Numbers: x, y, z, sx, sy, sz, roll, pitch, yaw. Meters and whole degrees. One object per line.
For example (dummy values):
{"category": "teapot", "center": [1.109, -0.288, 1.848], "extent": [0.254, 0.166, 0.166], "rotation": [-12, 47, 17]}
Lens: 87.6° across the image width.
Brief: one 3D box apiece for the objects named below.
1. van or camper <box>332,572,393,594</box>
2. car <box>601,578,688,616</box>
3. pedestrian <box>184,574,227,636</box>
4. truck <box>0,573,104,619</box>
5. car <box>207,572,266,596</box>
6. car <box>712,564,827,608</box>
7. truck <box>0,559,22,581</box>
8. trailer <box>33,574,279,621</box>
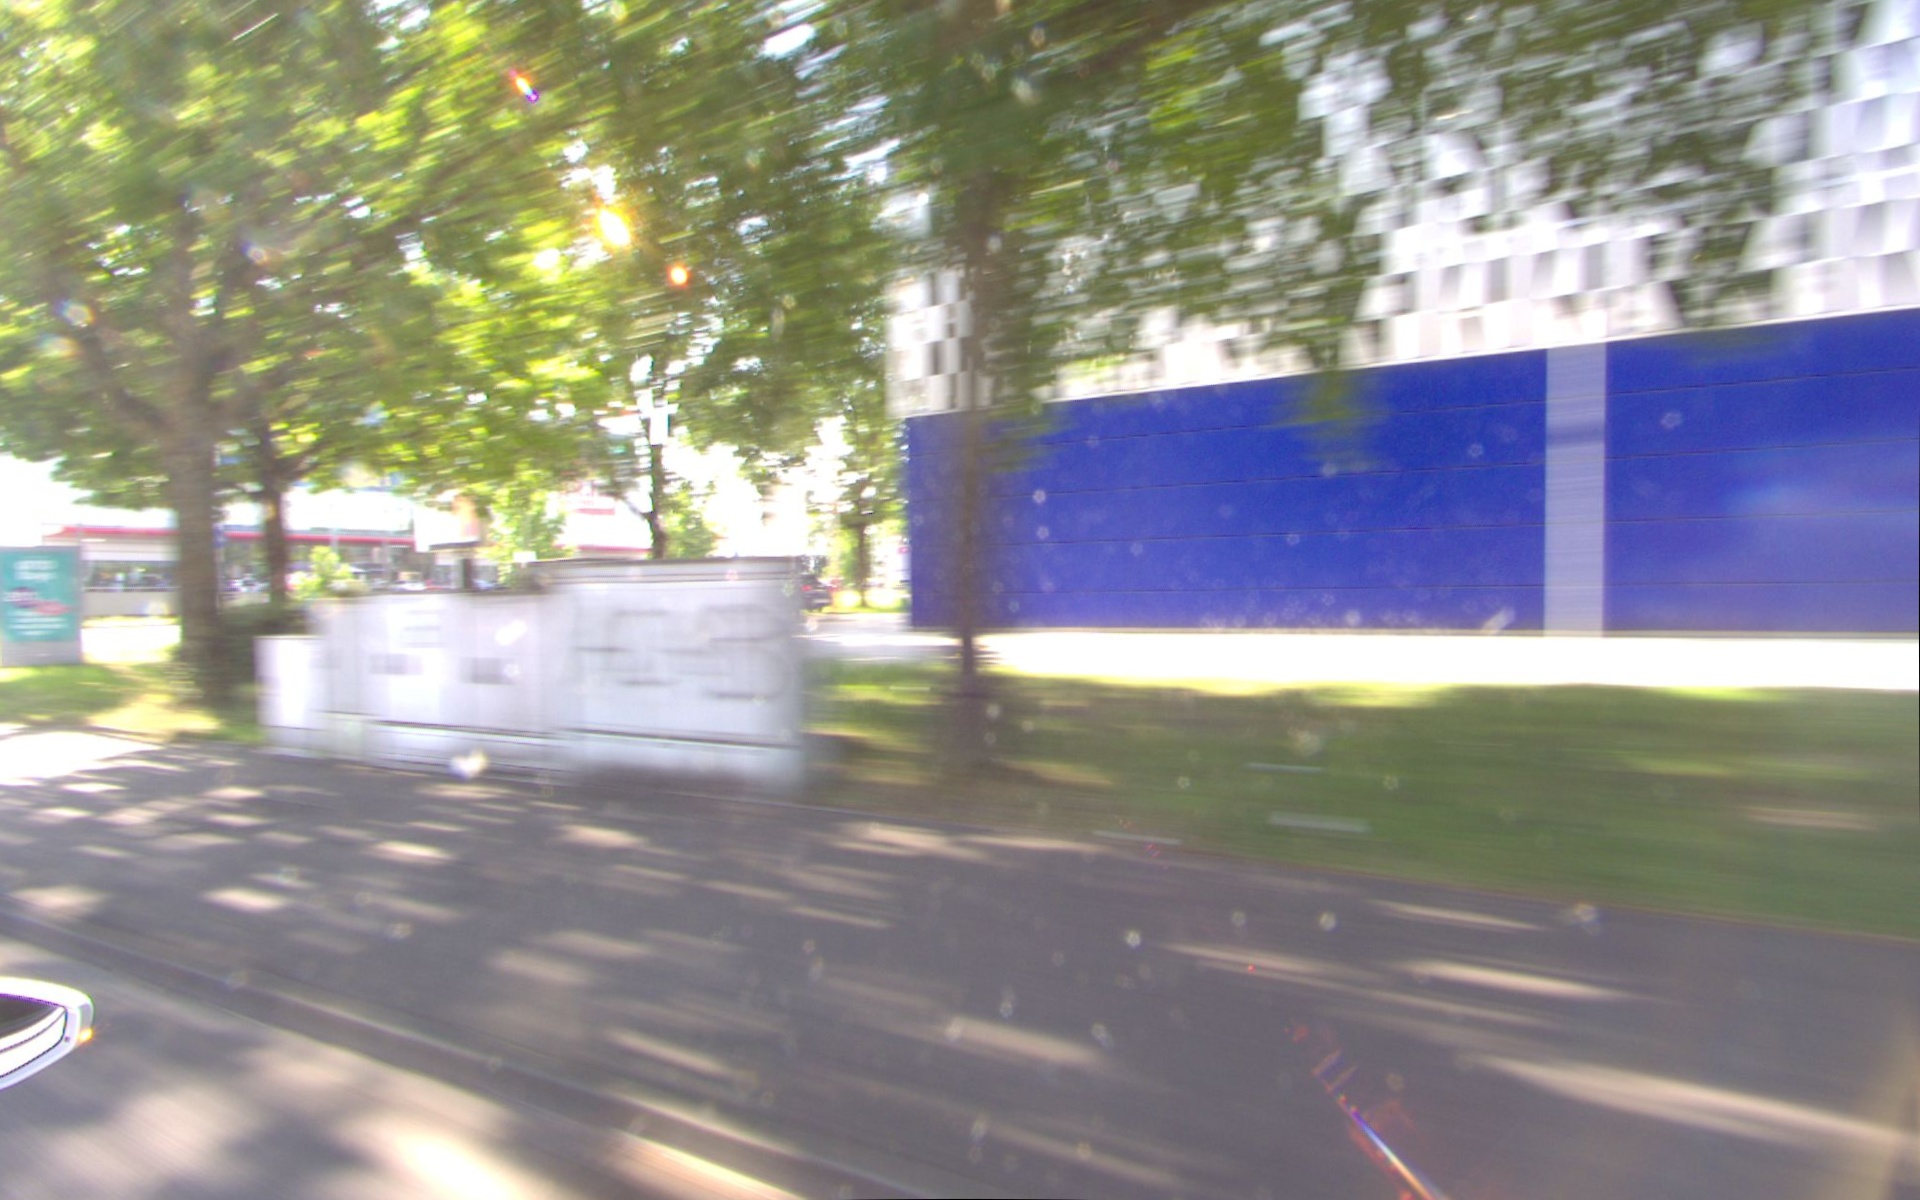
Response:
{"category": "van or camper", "center": [-60.461, -1.677, 101.451], "extent": [1.968, 2.040, 4.982], "rotation": [1, -1, 27]}
{"category": "car", "center": [-13.105, -0.127, 41.520], "extent": [3.884, 1.509, 1.776], "rotation": [0, 1, 43]}
{"category": "pedestrian", "center": [-22.138, 0.154, 29.390], "extent": [0.791, 1.794, 0.628], "rotation": [0, 2, 18]}
{"category": "truck", "center": [-51.257, -0.185, 55.892], "extent": [1.969, 2.455, 4.876], "rotation": [1, -1, 29]}
{"category": "car", "center": [-66.661, -1.476, 92.302], "extent": [1.968, 2.040, 3.986], "rotation": [1, -1, 27]}
{"category": "car", "center": [-6.941, -0.478, 36.473], "extent": [3.865, 1.509, 1.784], "rotation": [0, 1, 27]}
{"category": "truck", "center": [-96.712, -3.066, 98.718], "extent": [1.970, 2.040, 5.903], "rotation": [1, -1, 30]}
{"category": "trailer", "center": [-48.437, -0.059, 61.037], "extent": [1.969, 2.501, 11.863], "rotation": [1, -1, 29]}
